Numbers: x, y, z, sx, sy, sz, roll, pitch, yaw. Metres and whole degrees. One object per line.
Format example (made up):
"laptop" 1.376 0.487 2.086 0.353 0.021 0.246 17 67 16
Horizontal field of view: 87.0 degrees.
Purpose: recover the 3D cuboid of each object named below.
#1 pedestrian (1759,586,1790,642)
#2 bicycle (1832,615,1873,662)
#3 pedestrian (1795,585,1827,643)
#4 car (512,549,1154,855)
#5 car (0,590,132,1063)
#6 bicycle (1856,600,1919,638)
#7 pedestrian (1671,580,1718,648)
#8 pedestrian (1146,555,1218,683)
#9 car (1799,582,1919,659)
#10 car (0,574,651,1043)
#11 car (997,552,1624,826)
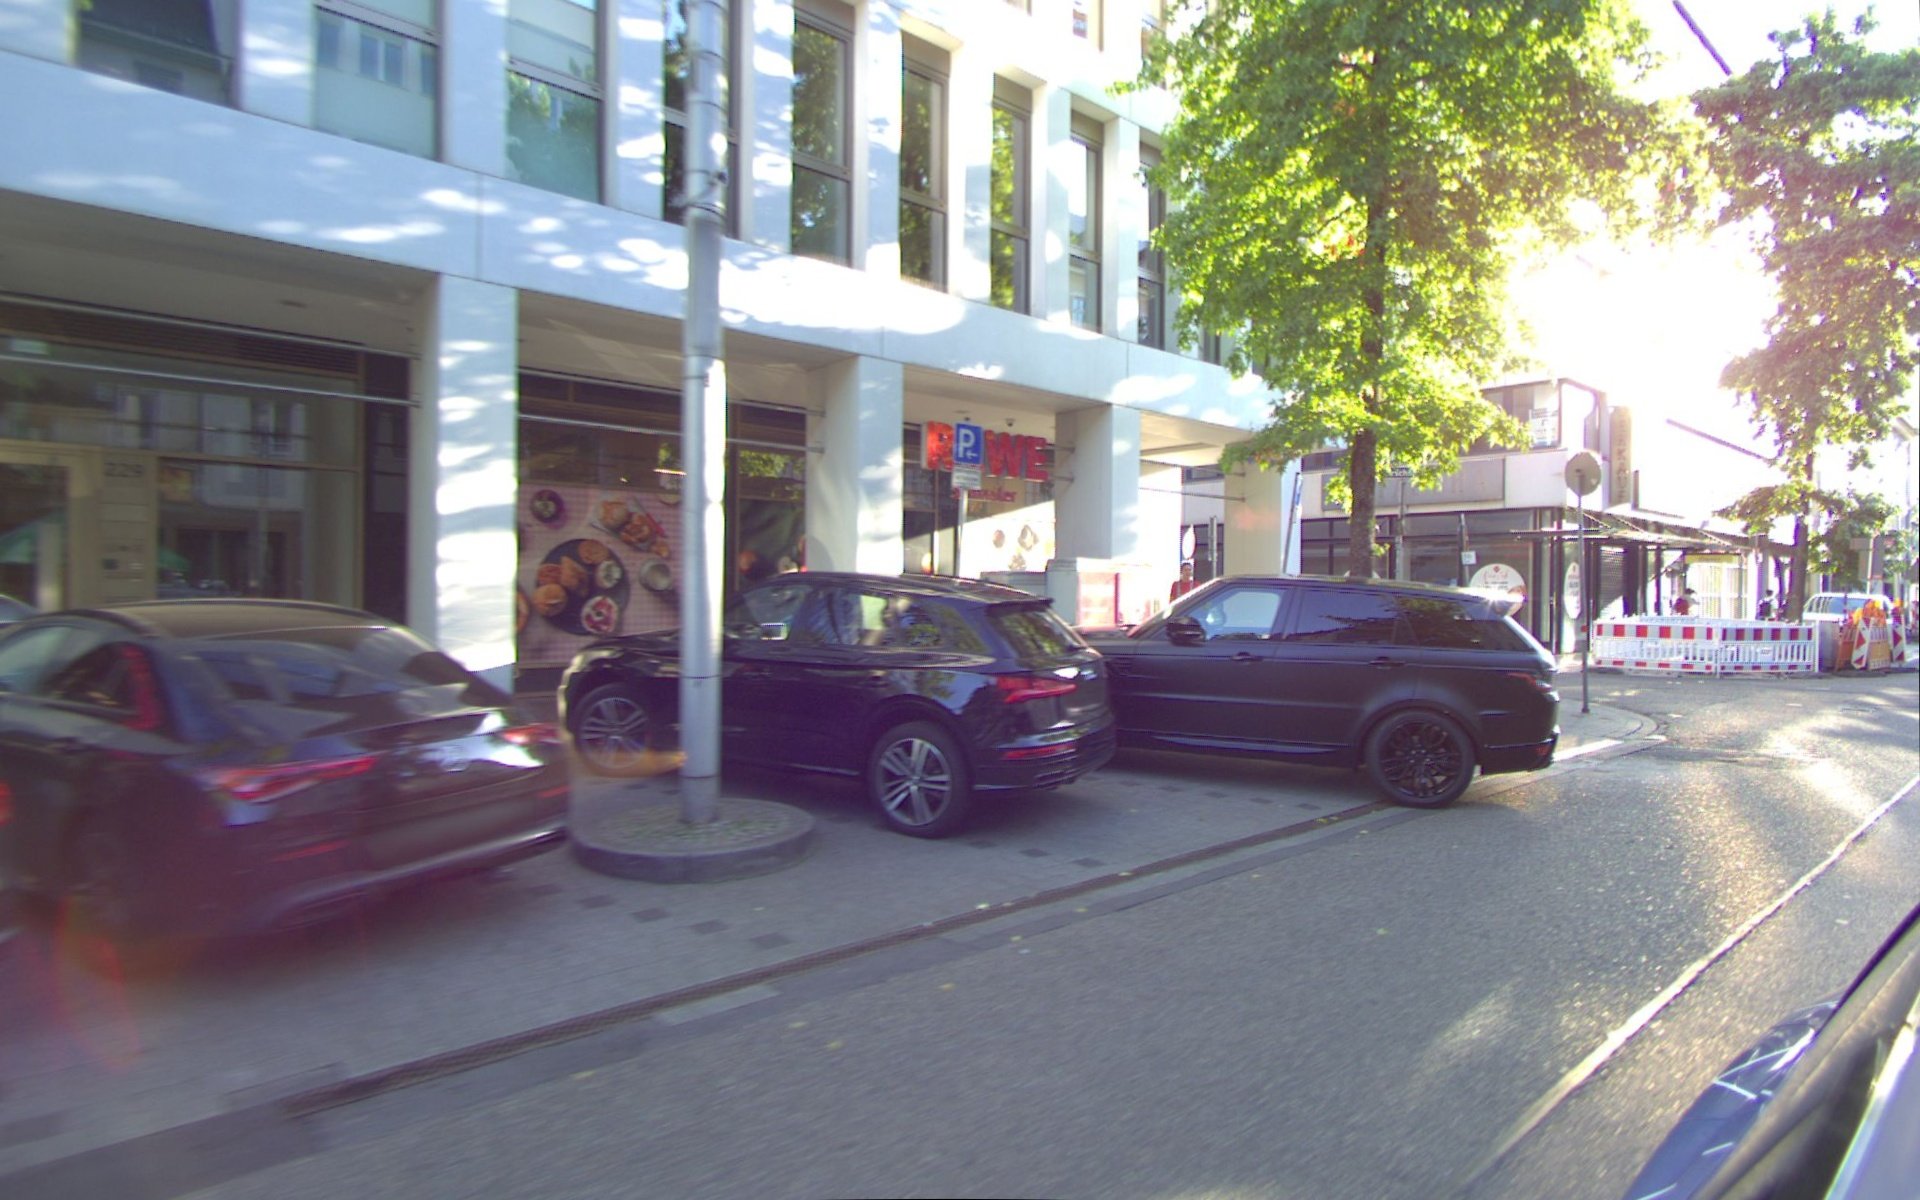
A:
"pedestrian" 27.243 0.447 33.861 0.623 1.853 0.689 0 0 -41
"bicycle" 20.501 0.869 23.234 1.897 0.994 0.493 0 1 -43
"pedestrian" 27.949 0.443 33.226 0.623 1.853 0.706 0 0 -40
"car" -1.042 0.530 7.870 4.622 1.675 1.990 3 2 27
"car" -5.621 0.650 3.320 4.988 1.486 1.969 3 3 15
"bicycle" 31.637 0.624 34.205 0.824 1.148 1.820 -1 3 -32
"pedestrian" 21.187 0.395 29.179 0.901 1.921 0.836 0 1 -38
"pedestrian" 3.277 0.264 14.987 0.786 1.840 0.758 1 3 -7
"car" 23.749 0.464 26.473 4.823 1.758 2.027 0 3 -42
"car" -4.034 0.661 5.414 4.627 1.443 1.914 3 3 30
"car" 2.837 0.558 8.916 4.612 1.785 1.981 3 3 21
